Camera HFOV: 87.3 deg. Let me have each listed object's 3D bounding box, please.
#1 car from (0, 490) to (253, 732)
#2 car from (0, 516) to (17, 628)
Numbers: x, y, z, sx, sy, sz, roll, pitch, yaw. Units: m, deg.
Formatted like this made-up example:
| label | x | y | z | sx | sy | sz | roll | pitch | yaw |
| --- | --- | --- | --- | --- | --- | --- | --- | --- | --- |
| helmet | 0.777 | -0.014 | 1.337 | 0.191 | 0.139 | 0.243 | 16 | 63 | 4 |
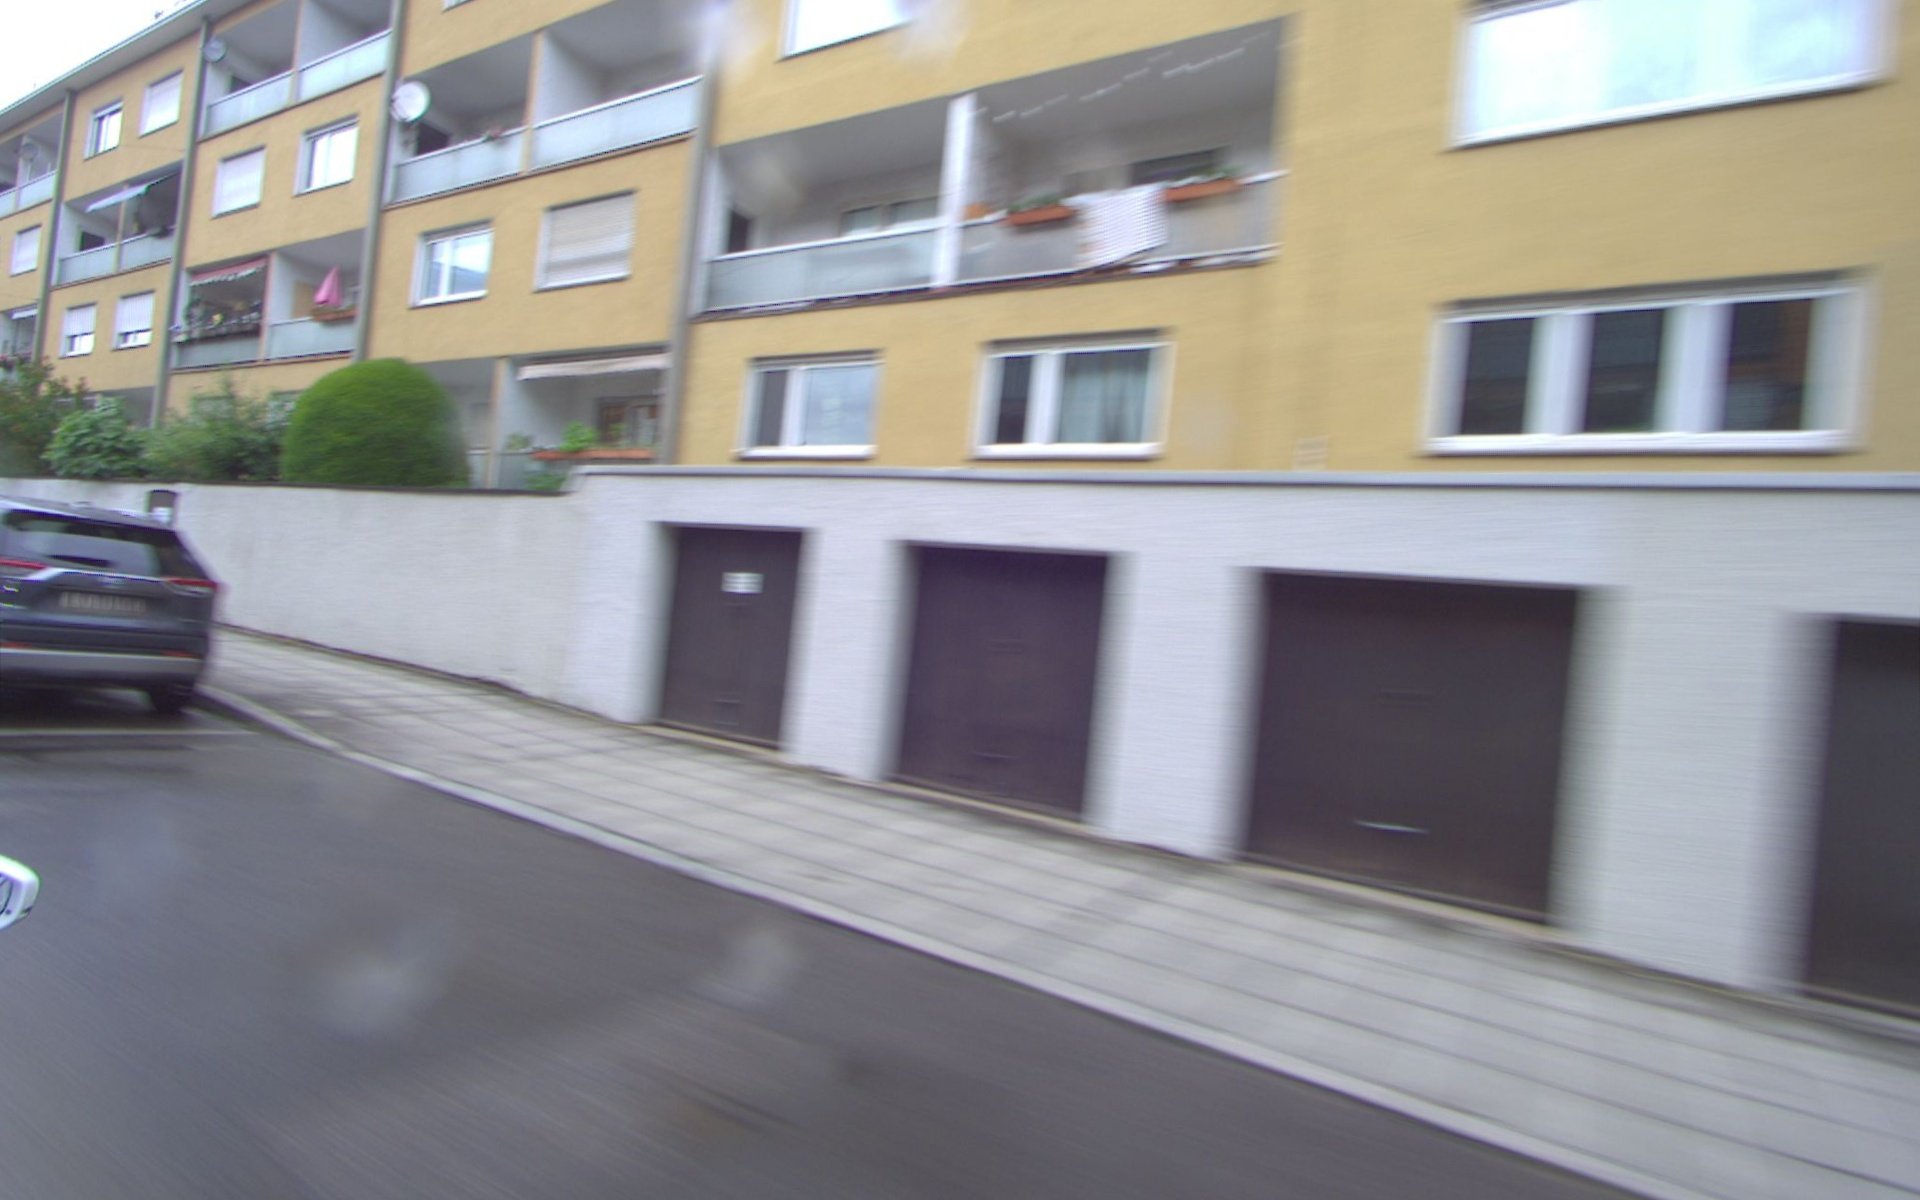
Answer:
| label | x | y | z | sx | sy | sz | roll | pitch | yaw |
| --- | --- | --- | --- | --- | --- | --- | --- | --- | --- |
| car | -8.076 | -0.059 | 8.529 | 4.008 | 1.671 | 1.822 | 7 | -2 | 32 |
| car | -12.726 | -0.452 | 11.442 | 4.008 | 1.539 | 1.822 | 7 | -2 | 32 |
